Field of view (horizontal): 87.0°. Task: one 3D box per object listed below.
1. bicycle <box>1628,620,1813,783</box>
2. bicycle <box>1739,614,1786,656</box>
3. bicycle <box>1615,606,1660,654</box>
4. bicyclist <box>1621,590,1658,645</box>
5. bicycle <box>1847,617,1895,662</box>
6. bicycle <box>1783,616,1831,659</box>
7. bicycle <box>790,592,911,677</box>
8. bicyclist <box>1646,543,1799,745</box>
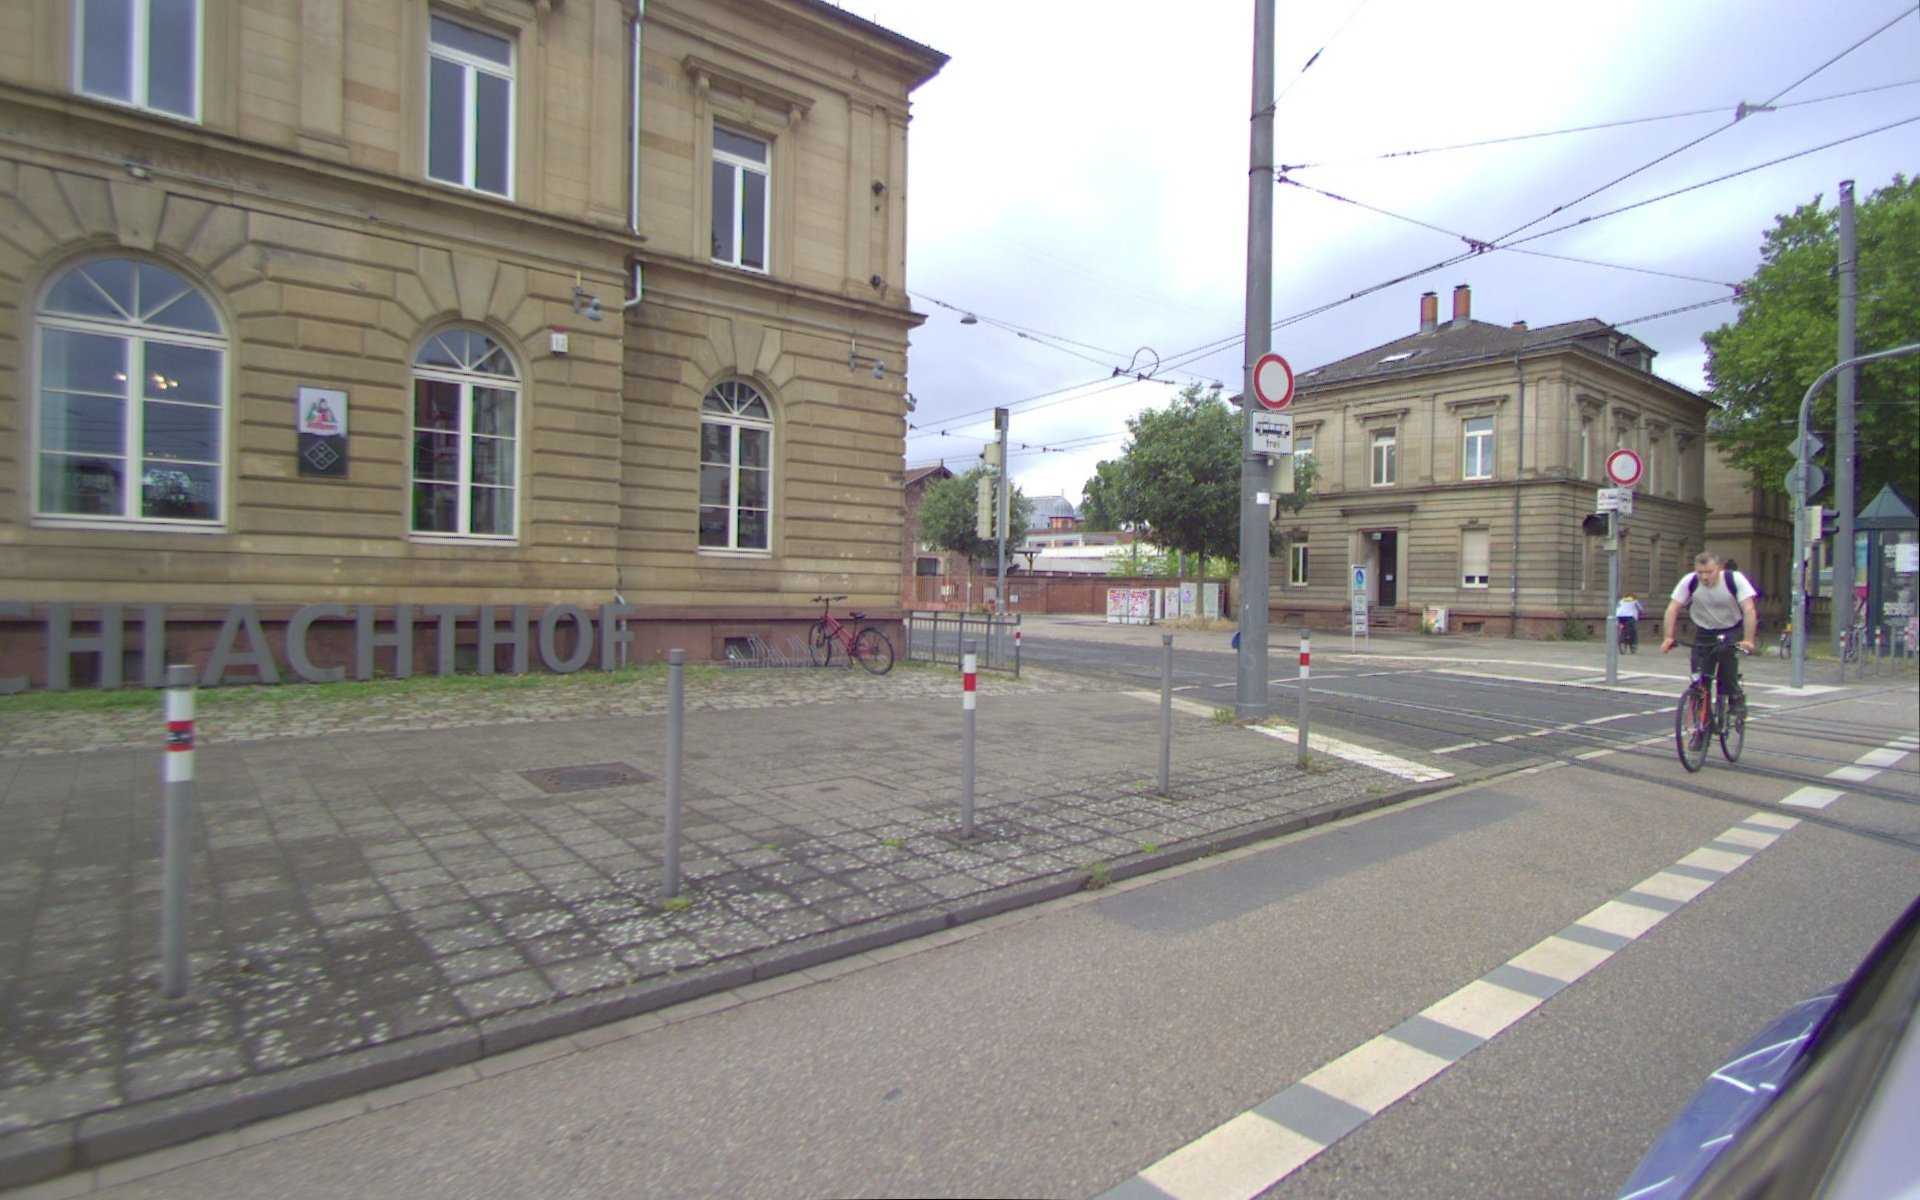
[{"bbox_3d":[6.694,0.805,8.861,2.237,1.184,0.814,0,1,-40],"label":"bicycle"},{"bbox_3d":[22.501,0.963,28.360,1.669,1.081,0.718,0,1,-40],"label":"bicycle"},{"bbox_3d":[17.792,0.767,26.551,0.674,1.179,2.082,1,1,42],"label":"bicycle"},{"bbox_3d":[17.870,0.454,26.617,0.692,1.417,0.804,1,1,41],"label":"bicyclist"},{"bbox_3d":[23.862,1.013,26.501,1.669,1.081,0.718,0,1,-40],"label":"bicycle"},{"bbox_3d":[23.104,1.010,27.588,1.669,1.081,0.718,0,1,-40],"label":"bicycle"},{"bbox_3d":[-1.652,0.491,15.107,1.845,1.091,0.541,4,3,34],"label":"bicycle"},{"bbox_3d":[6.628,0.343,8.790,1.169,1.620,0.812,0,1,-40],"label":"bicyclist"}]
